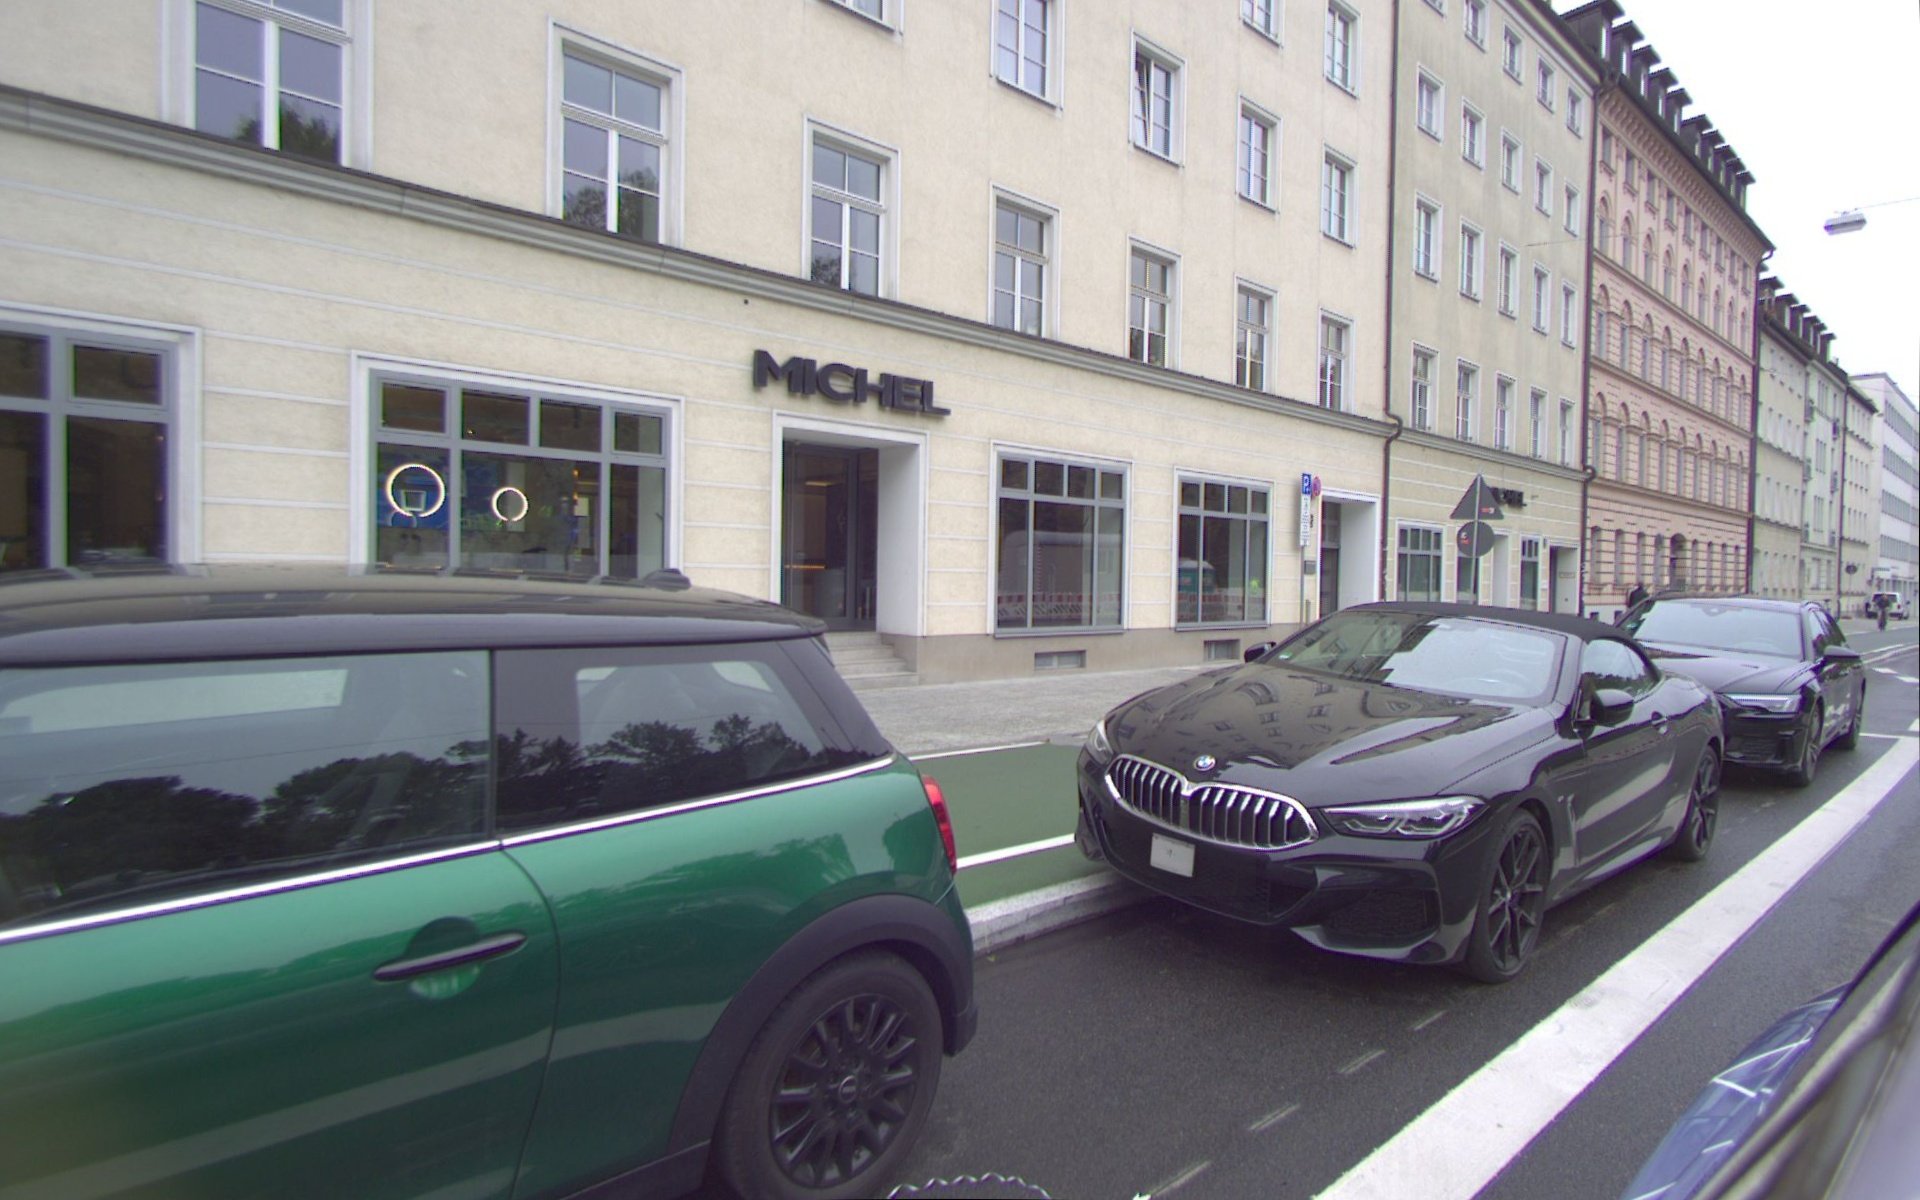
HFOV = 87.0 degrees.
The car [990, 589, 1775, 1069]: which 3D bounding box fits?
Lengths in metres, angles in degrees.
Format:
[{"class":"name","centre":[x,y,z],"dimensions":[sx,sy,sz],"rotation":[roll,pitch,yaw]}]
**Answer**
[{"class":"car","centre":[2.482,0.669,5.214],"dimensions":[4.636,1.425,1.829],"rotation":[0,0,-40]}]

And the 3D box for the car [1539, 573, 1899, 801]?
[{"class":"car","centre":[7.150,0.602,9.350],"dimensions":[4.386,1.498,1.812],"rotation":[0,5,-43]}]

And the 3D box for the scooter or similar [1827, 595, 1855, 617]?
[{"class":"scooter or similar","centre":[49.011,0.328,56.299],"dimensions":[1.063,1.207,0.451],"rotation":[2,1,20]}]

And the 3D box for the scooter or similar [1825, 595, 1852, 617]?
[{"class":"scooter or similar","centre":[49.816,0.332,57.376],"dimensions":[1.059,1.207,0.436],"rotation":[1,1,10]}]

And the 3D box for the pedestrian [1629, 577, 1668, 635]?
[{"class":"pedestrian","centre":[21.494,0.188,31.584],"dimensions":[0.819,1.767,0.795],"rotation":[0,1,-41]}]

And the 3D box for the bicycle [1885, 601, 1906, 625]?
[{"class":"bicycle","centre":[43.008,0.604,46.541],"dimensions":[0.630,1.050,1.987],"rotation":[2,2,42]}]

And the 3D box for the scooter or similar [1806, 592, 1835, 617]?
[{"class":"scooter or similar","centre":[45.320,0.234,53.295],"dimensions":[1.055,1.261,0.554],"rotation":[1,1,-6]}]

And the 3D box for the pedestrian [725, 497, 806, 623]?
[{"class":"pedestrian","centre":[-2.740,-0.557,14.242],"dimensions":[0.767,1.710,0.861],"rotation":[0,2,-39]}]

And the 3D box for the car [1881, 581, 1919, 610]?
[{"class":"car","centre":[62.618,-0.287,67.182],"dimensions":[3.931,1.855,1.764],"rotation":[0,1,-42]}]

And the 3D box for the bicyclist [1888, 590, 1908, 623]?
[{"class":"bicyclist","centre":[43.077,0.281,46.501],"dimensions":[0.630,1.486,0.643],"rotation":[2,1,42]}]

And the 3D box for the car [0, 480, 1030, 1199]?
[{"class":"car","centre":[-1.790,0.603,2.013],"dimensions":[3.761,1.540,1.678],"rotation":[0,0,-40]}]

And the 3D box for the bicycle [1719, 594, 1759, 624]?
[{"class":"bicycle","centre":[31.686,0.372,41.161],"dimensions":[1.690,1.191,0.558],"rotation":[1,1,-27]}]
